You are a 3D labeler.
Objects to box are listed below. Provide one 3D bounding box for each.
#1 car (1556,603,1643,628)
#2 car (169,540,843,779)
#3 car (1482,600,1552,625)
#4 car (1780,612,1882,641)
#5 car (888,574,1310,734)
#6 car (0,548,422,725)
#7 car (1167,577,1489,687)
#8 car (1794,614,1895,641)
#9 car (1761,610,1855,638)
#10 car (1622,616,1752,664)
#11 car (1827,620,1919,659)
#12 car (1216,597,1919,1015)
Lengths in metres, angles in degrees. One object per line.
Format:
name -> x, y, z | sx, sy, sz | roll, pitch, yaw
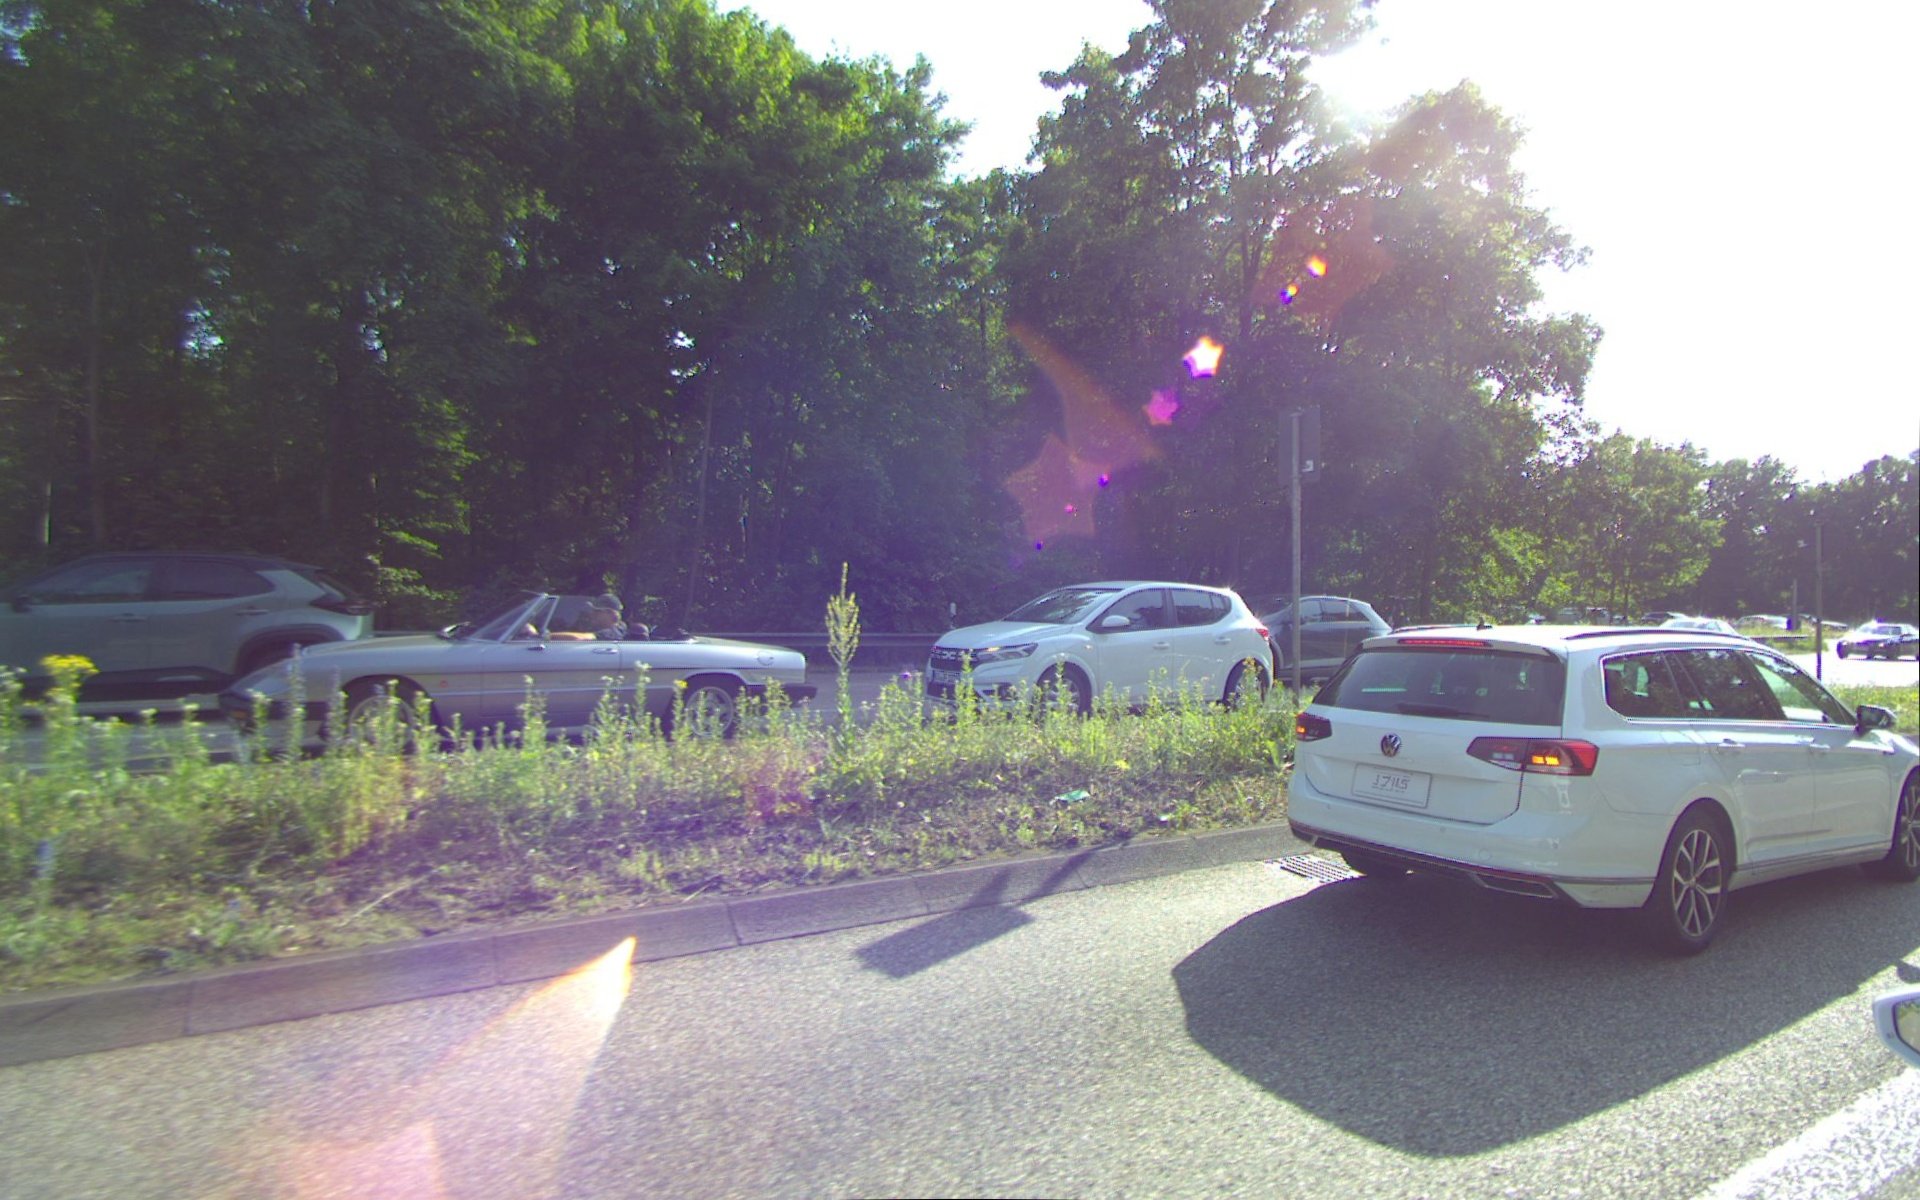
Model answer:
car -> 48.131, 1.148, 75.708 | 2.413, 1.510, 5.040 | 1, 2, -24
car -> -3.284, 0.390, 7.910 | 4.382, 1.436, 1.758 | 1, 0, -30
car -> 45.518, 1.011, 82.151 | 2.161, 1.750, 4.624 | 1, 2, -24
car -> 54.980, 1.674, 63.498 | 1.972, 1.510, 4.396 | 1, 2, -23
car -> 1.577, 0.517, 10.936 | 4.364, 1.436, 1.859 | 1, 0, -30
car -> -7.684, 0.319, 9.669 | 4.364, 1.480, 1.859 | 1, 0, -30
car -> 6.813, 0.546, 18.290 | 6.152, 1.731, 2.093 | 1, 0, -30
car -> 59.435, 1.803, 67.578 | 2.146, 1.510, 4.679 | 1, 2, -34
car -> 56.465, 1.576, 66.936 | 1.979, 1.510, 4.379 | 1, 2, -34
car -> 22.866, 1.231, 31.574 | 4.324, 1.396, 1.730 | 1, 0, -30
car -> 36.799, 1.572, 40.351 | 4.703, 1.425, 1.777 | 1, 1, -33
car -> 3.935, 0.834, 5.928 | 4.779, 1.542, 1.860 | 1, 2, -31
